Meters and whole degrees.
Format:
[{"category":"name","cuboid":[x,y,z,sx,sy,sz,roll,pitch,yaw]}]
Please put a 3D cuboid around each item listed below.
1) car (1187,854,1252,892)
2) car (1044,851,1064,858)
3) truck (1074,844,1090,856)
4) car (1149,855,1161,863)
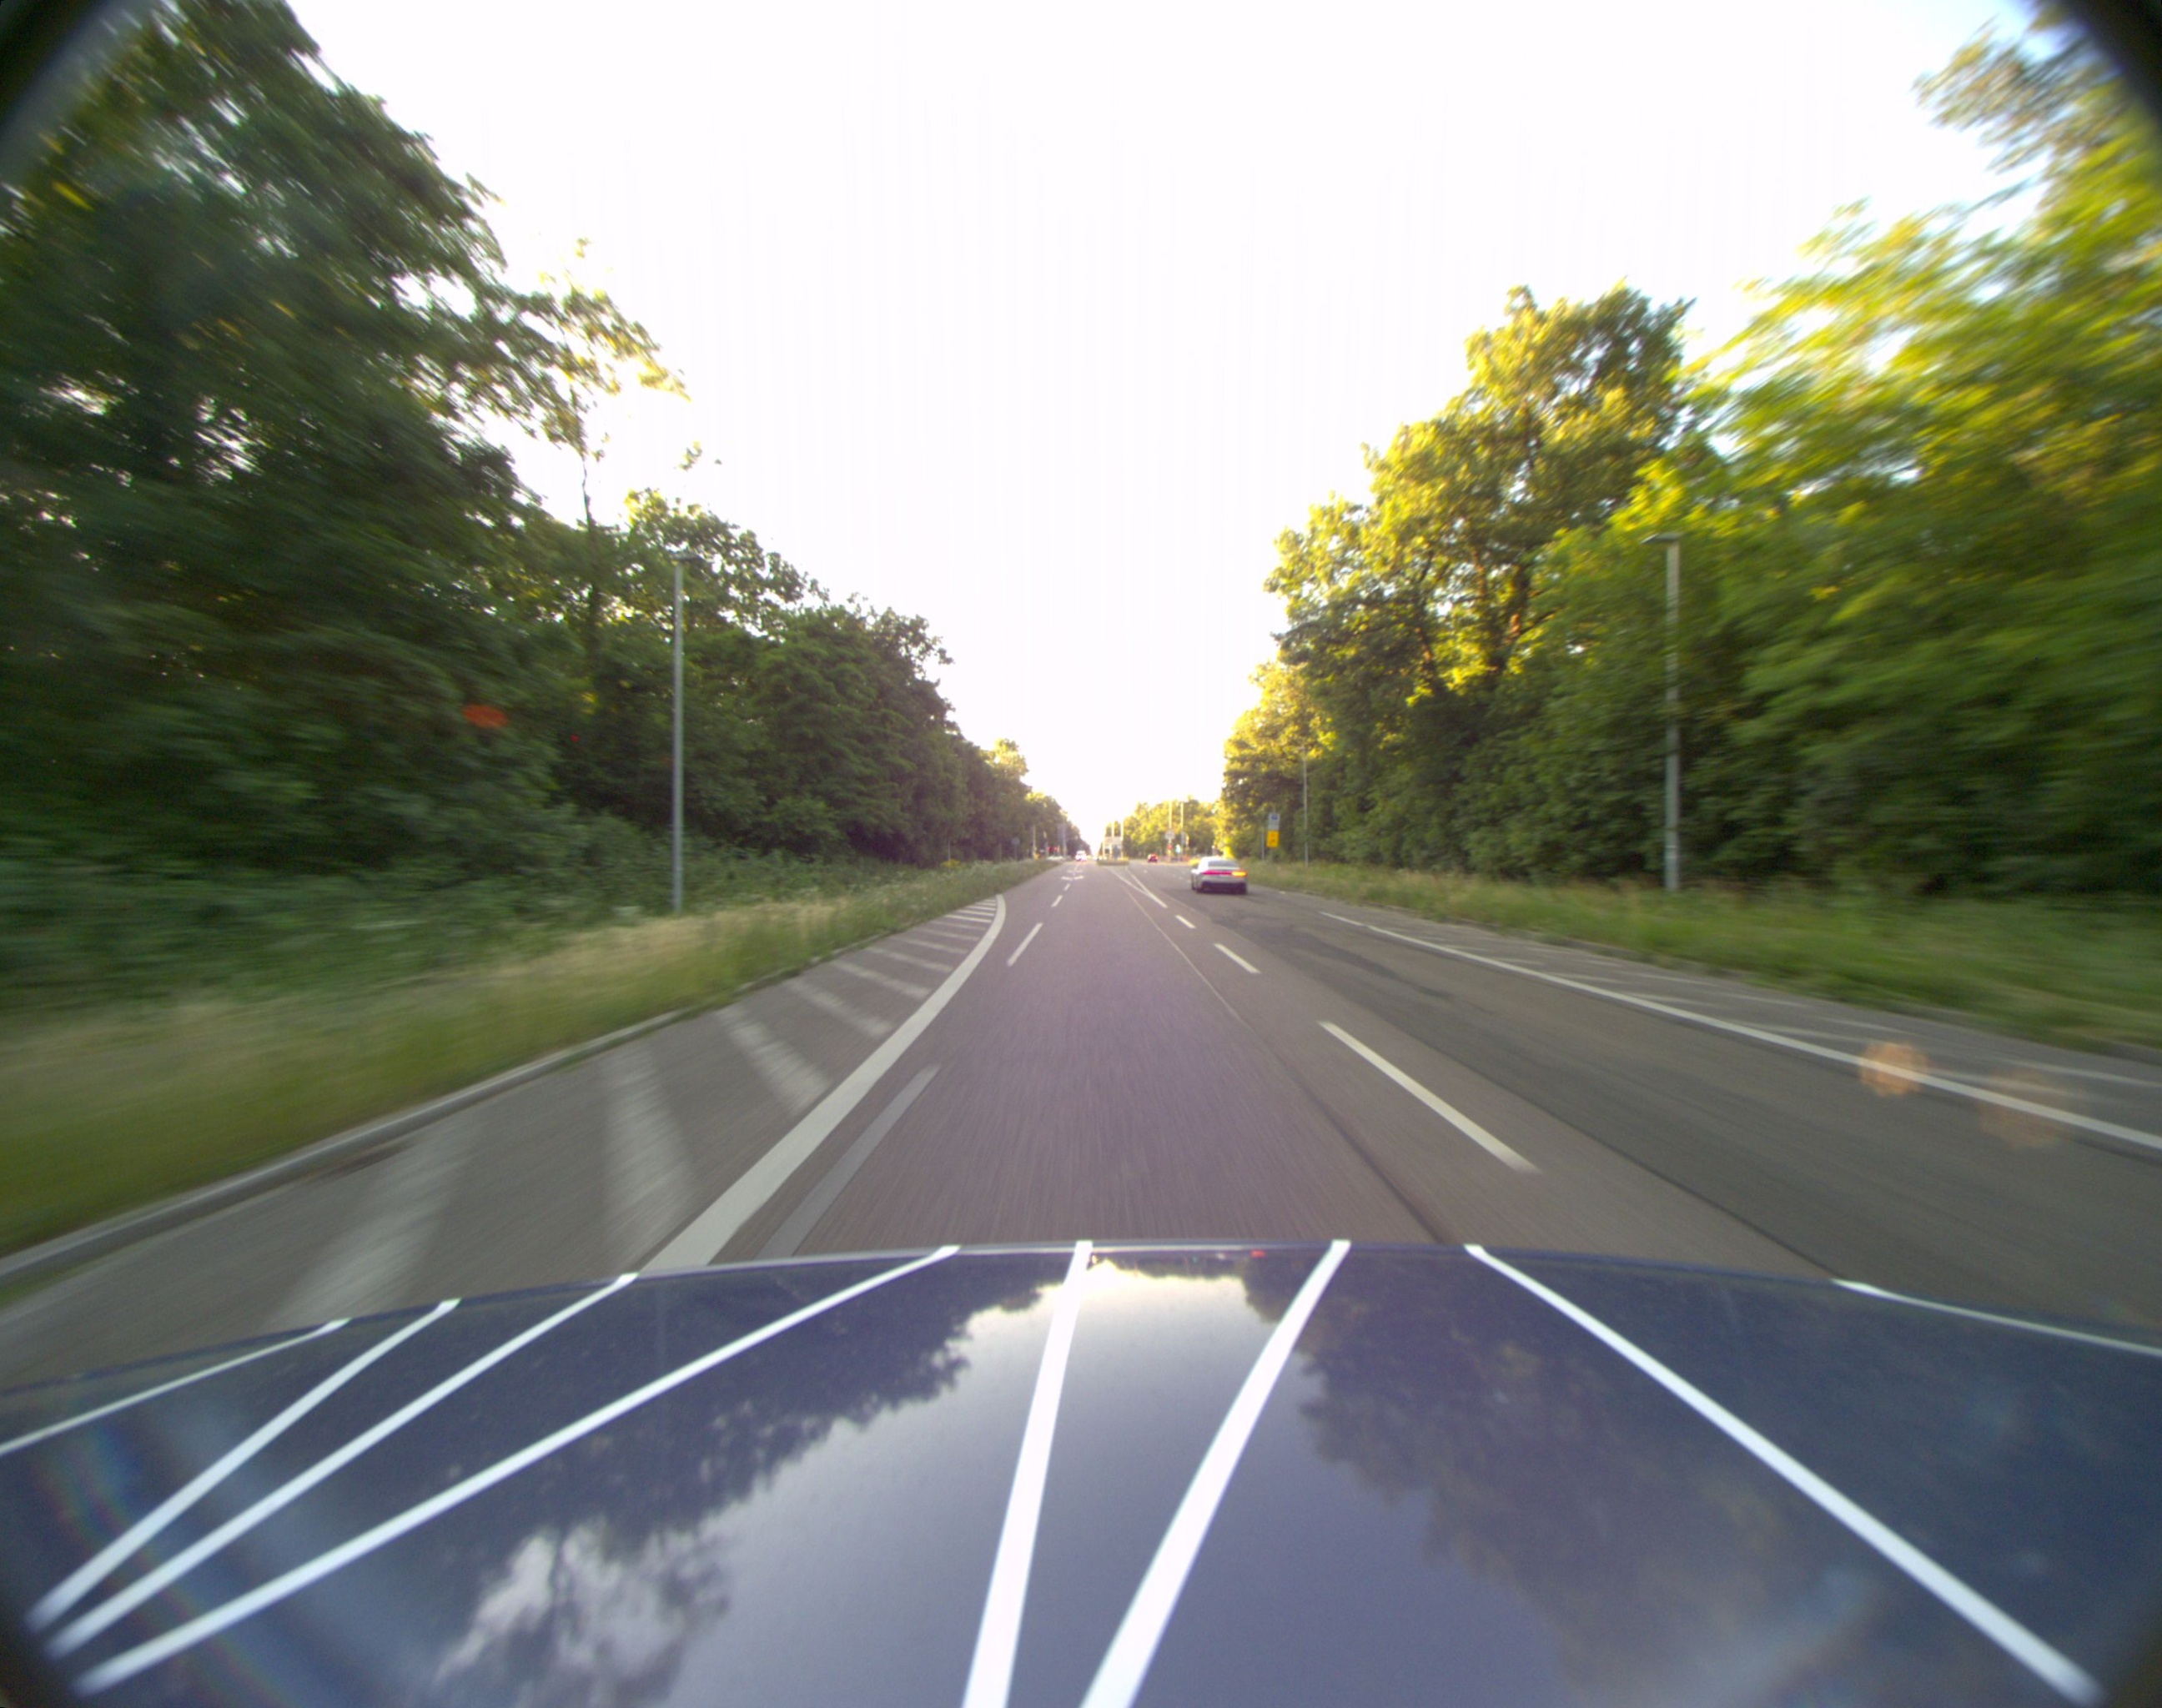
[{"category":"car","cuboid":[5.555,0.742,31.033,2.068,1.427,4.467,1,0,3]},{"category":"car","cuboid":[-5.932,0.043,168.032,4.235,1.447,1.719,-1,0,-15]},{"category":"truck","cuboid":[0.311,-0.997,182.607,2.601,2.543,6.026,-2,2,11]},{"category":"car","cuboid":[14.149,0.915,145.335,1.822,1.525,4.459,1,1,13]}]
